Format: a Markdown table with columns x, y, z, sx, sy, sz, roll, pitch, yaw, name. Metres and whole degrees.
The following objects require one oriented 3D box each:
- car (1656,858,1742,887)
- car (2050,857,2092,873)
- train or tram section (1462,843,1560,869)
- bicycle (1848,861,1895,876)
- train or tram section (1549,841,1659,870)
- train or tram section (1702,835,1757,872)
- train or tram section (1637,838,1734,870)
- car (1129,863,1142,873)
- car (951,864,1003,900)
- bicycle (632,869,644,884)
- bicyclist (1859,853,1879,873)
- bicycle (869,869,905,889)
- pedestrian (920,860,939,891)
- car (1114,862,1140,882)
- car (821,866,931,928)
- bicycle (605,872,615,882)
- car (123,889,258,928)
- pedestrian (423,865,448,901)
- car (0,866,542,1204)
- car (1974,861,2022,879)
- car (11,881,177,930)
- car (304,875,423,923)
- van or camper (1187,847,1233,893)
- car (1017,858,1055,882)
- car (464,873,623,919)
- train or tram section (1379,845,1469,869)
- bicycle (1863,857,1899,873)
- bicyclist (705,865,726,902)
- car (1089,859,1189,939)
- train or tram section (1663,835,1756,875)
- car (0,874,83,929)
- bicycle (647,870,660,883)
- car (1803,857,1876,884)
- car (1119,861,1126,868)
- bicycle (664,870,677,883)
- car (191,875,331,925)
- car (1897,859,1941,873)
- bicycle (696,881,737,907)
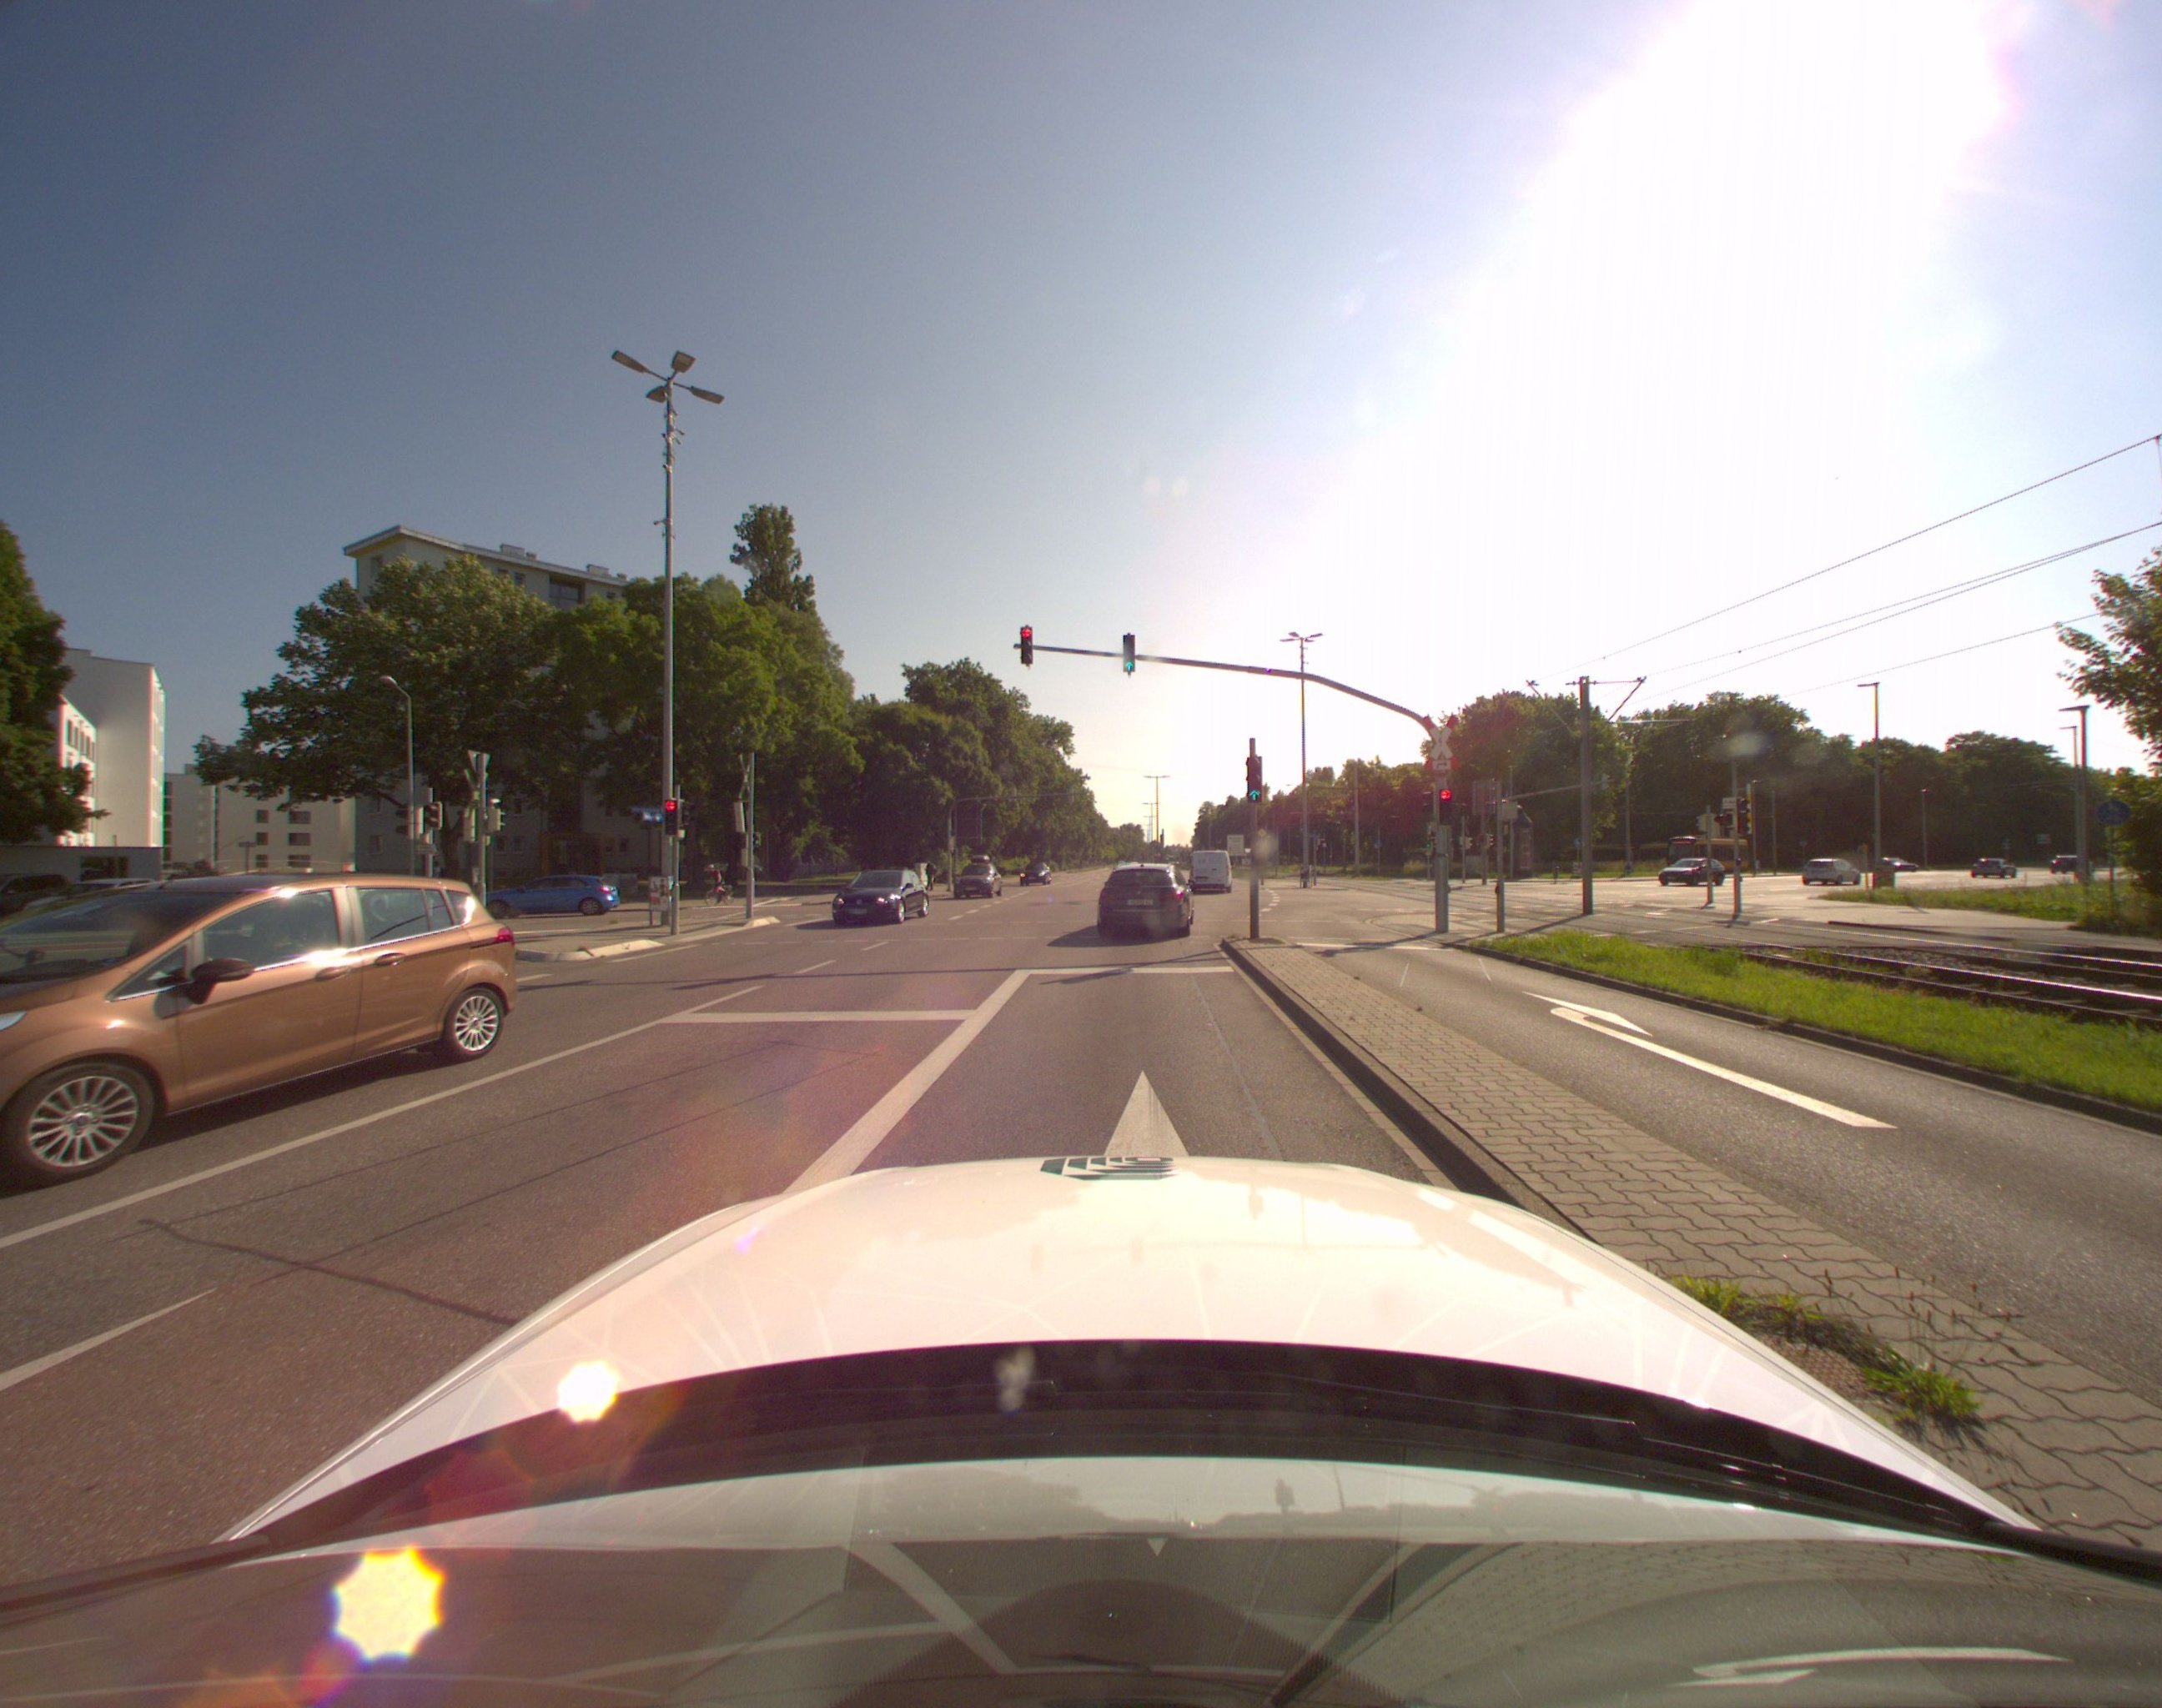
| x | y | z | sx | sy | sz | roll | pitch | yaw | name |
| --- | --- | --- | --- | --- | --- | --- | --- | --- | --- |
| 36.360 | 1.051 | 47.914 | 4.870 | 1.563 | 2.027 | -1 | 0 | -25 | car |
| 87.033 | 0.978 | 71.607 | 3.537 | 1.384 | 1.592 | -1 | -1 | -27 | car |
| 61.703 | 0.370 | 117.263 | 12.073 | 3.580 | 3.073 | -1 | -1 | 39 | train or tram section |
| 79.806 | 1.488 | 82.259 | 1.131 | 1.454 | 3.208 | 1 | -1 | -19 | bicycle |
| 68.891 | 0.231 | 107.759 | 3.063 | 3.580 | 12.111 | 0 | -1 | -30 | train or tram section |
| 67.300 | 0.020 | 84.791 | 3.015 | 3.580 | 12.307 | -1 | -1 | 32 | train or tram section |
| 71.036 | 0.049 | 96.215 | 3.030 | 3.580 | 12.243 | 0 | -1 | 4 | train or tram section |
| 8.602 | 2.238 | 127.495 | 1.839 | 1.477 | 4.652 | 0 | -1 | 5 | car |
| -4.807 | 1.263 | 38.145 | 1.782 | 1.520 | 4.000 | -1 | -1 | 1 | car |
| -31.911 | 1.602 | 58.685 | 0.615 | 1.066 | 1.897 | 1 | -3 | -34 | bicycle |
| 79.762 | 0.905 | 82.435 | 1.140 | 2.014 | 1.091 | 1 | -1 | -20 | bicyclist |
| -11.054 | 1.444 | 46.507 | 1.901 | 1.119 | 0.633 | -1 | -1 | 2 | bicycle |
| -8.615 | 1.234 | 46.273 | 0.811 | 1.752 | 0.933 | 0 | -1 | 8 | pedestrian |
| 3.509 | 1.353 | 61.889 | 1.820 | 1.431 | 4.737 | -2 | -1 | 5 | car |
| -5.501 | 1.104 | 22.409 | 1.882 | 1.474 | 4.100 | -1 | -1 | 1 | car |
| -33.548 | 1.630 | 58.020 | 0.587 | 0.708 | 2.216 | 0 | -1 | -32 | bicycle |
| -32.460 | 1.957 | 29.838 | 1.462 | 1.193 | 3.768 | 0 | -1 | -14 | car |
| -31.206 | 1.375 | 39.392 | 0.619 | 1.713 | 0.707 | -1 | -1 | 15 | pedestrian |
| -5.847 | 0.899 | 5.338 | 1.738 | 1.562 | 4.004 | -2 | -1 | 4 | car |
| 70.558 | 1.219 | 62.674 | 3.537 | 1.384 | 1.592 | 0 | -1 | -27 | car |
| -35.109 | 1.791 | 29.149 | 1.783 | 1.521 | 3.978 | 0 | -1 | -16 | car |
| -27.523 | 1.666 | 31.422 | 1.782 | 1.439 | 3.981 | 0 | 2 | -14 | car |
| 6.362 | 0.759 | 39.717 | 1.980 | 2.096 | 4.612 | -1 | -1 | 11 | van or camper |
| -3.231 | 1.169 | 59.724 | 1.979 | 1.659 | 4.393 | -1 | -1 | 7 | car |
| -18.385 | 1.404 | 28.078 | 4.244 | 1.414 | 1.773 | -1 | 0 | -20 | car |
| 52.203 | 0.483 | 124.308 | 12.279 | 3.580 | 3.073 | -1 | -1 | 34 | train or tram section |
| 85.233 | 1.178 | 86.762 | 0.798 | 1.713 | 2.586 | 0 | -1 | -33 | bicycle |
| -15.507 | 1.254 | 34.576 | 0.604 | 1.560 | 0.604 | -1 | -1 | 6 | bicyclist |
| 1.332 | 0.883 | 17.527 | 1.893 | 1.506 | 4.072 | -1 | -1 | 6 | car |
| 58.860 | 0.108 | 76.110 | 11.895 | 3.580 | 3.022 | 0 | -1 | -33 | train or tram section |
| -37.764 | 1.639 | 28.358 | 1.783 | 1.811 | 3.978 | 0 | -1 | -16 | car |
| -31.158 | 1.631 | 59.387 | 0.678 | 0.875 | 2.460 | 0 | -1 | -32 | bicycle |
| 46.473 | 1.005 | 49.901 | 4.211 | 1.563 | 1.840 | 0 | -1 | -25 | car |
| 10.245 | 2.610 | 202.480 | 1.782 | 1.772 | 4.572 | 0 | -1 | 2 | car |
| -30.237 | 1.631 | 59.962 | 0.673 | 0.920 | 2.382 | 0 | -1 | -32 | bicycle |
| -30.499 | 1.647 | 30.489 | 1.781 | 1.415 | 3.984 | 0 | 3 | -13 | car |
| 83.012 | 1.133 | 80.637 | 4.314 | 1.335 | 1.735 | 0 | -1 | -25 | car |
| -15.496 | 1.674 | 34.653 | 0.616 | 1.040 | 2.075 | -1 | -1 | 6 | bicycle |
